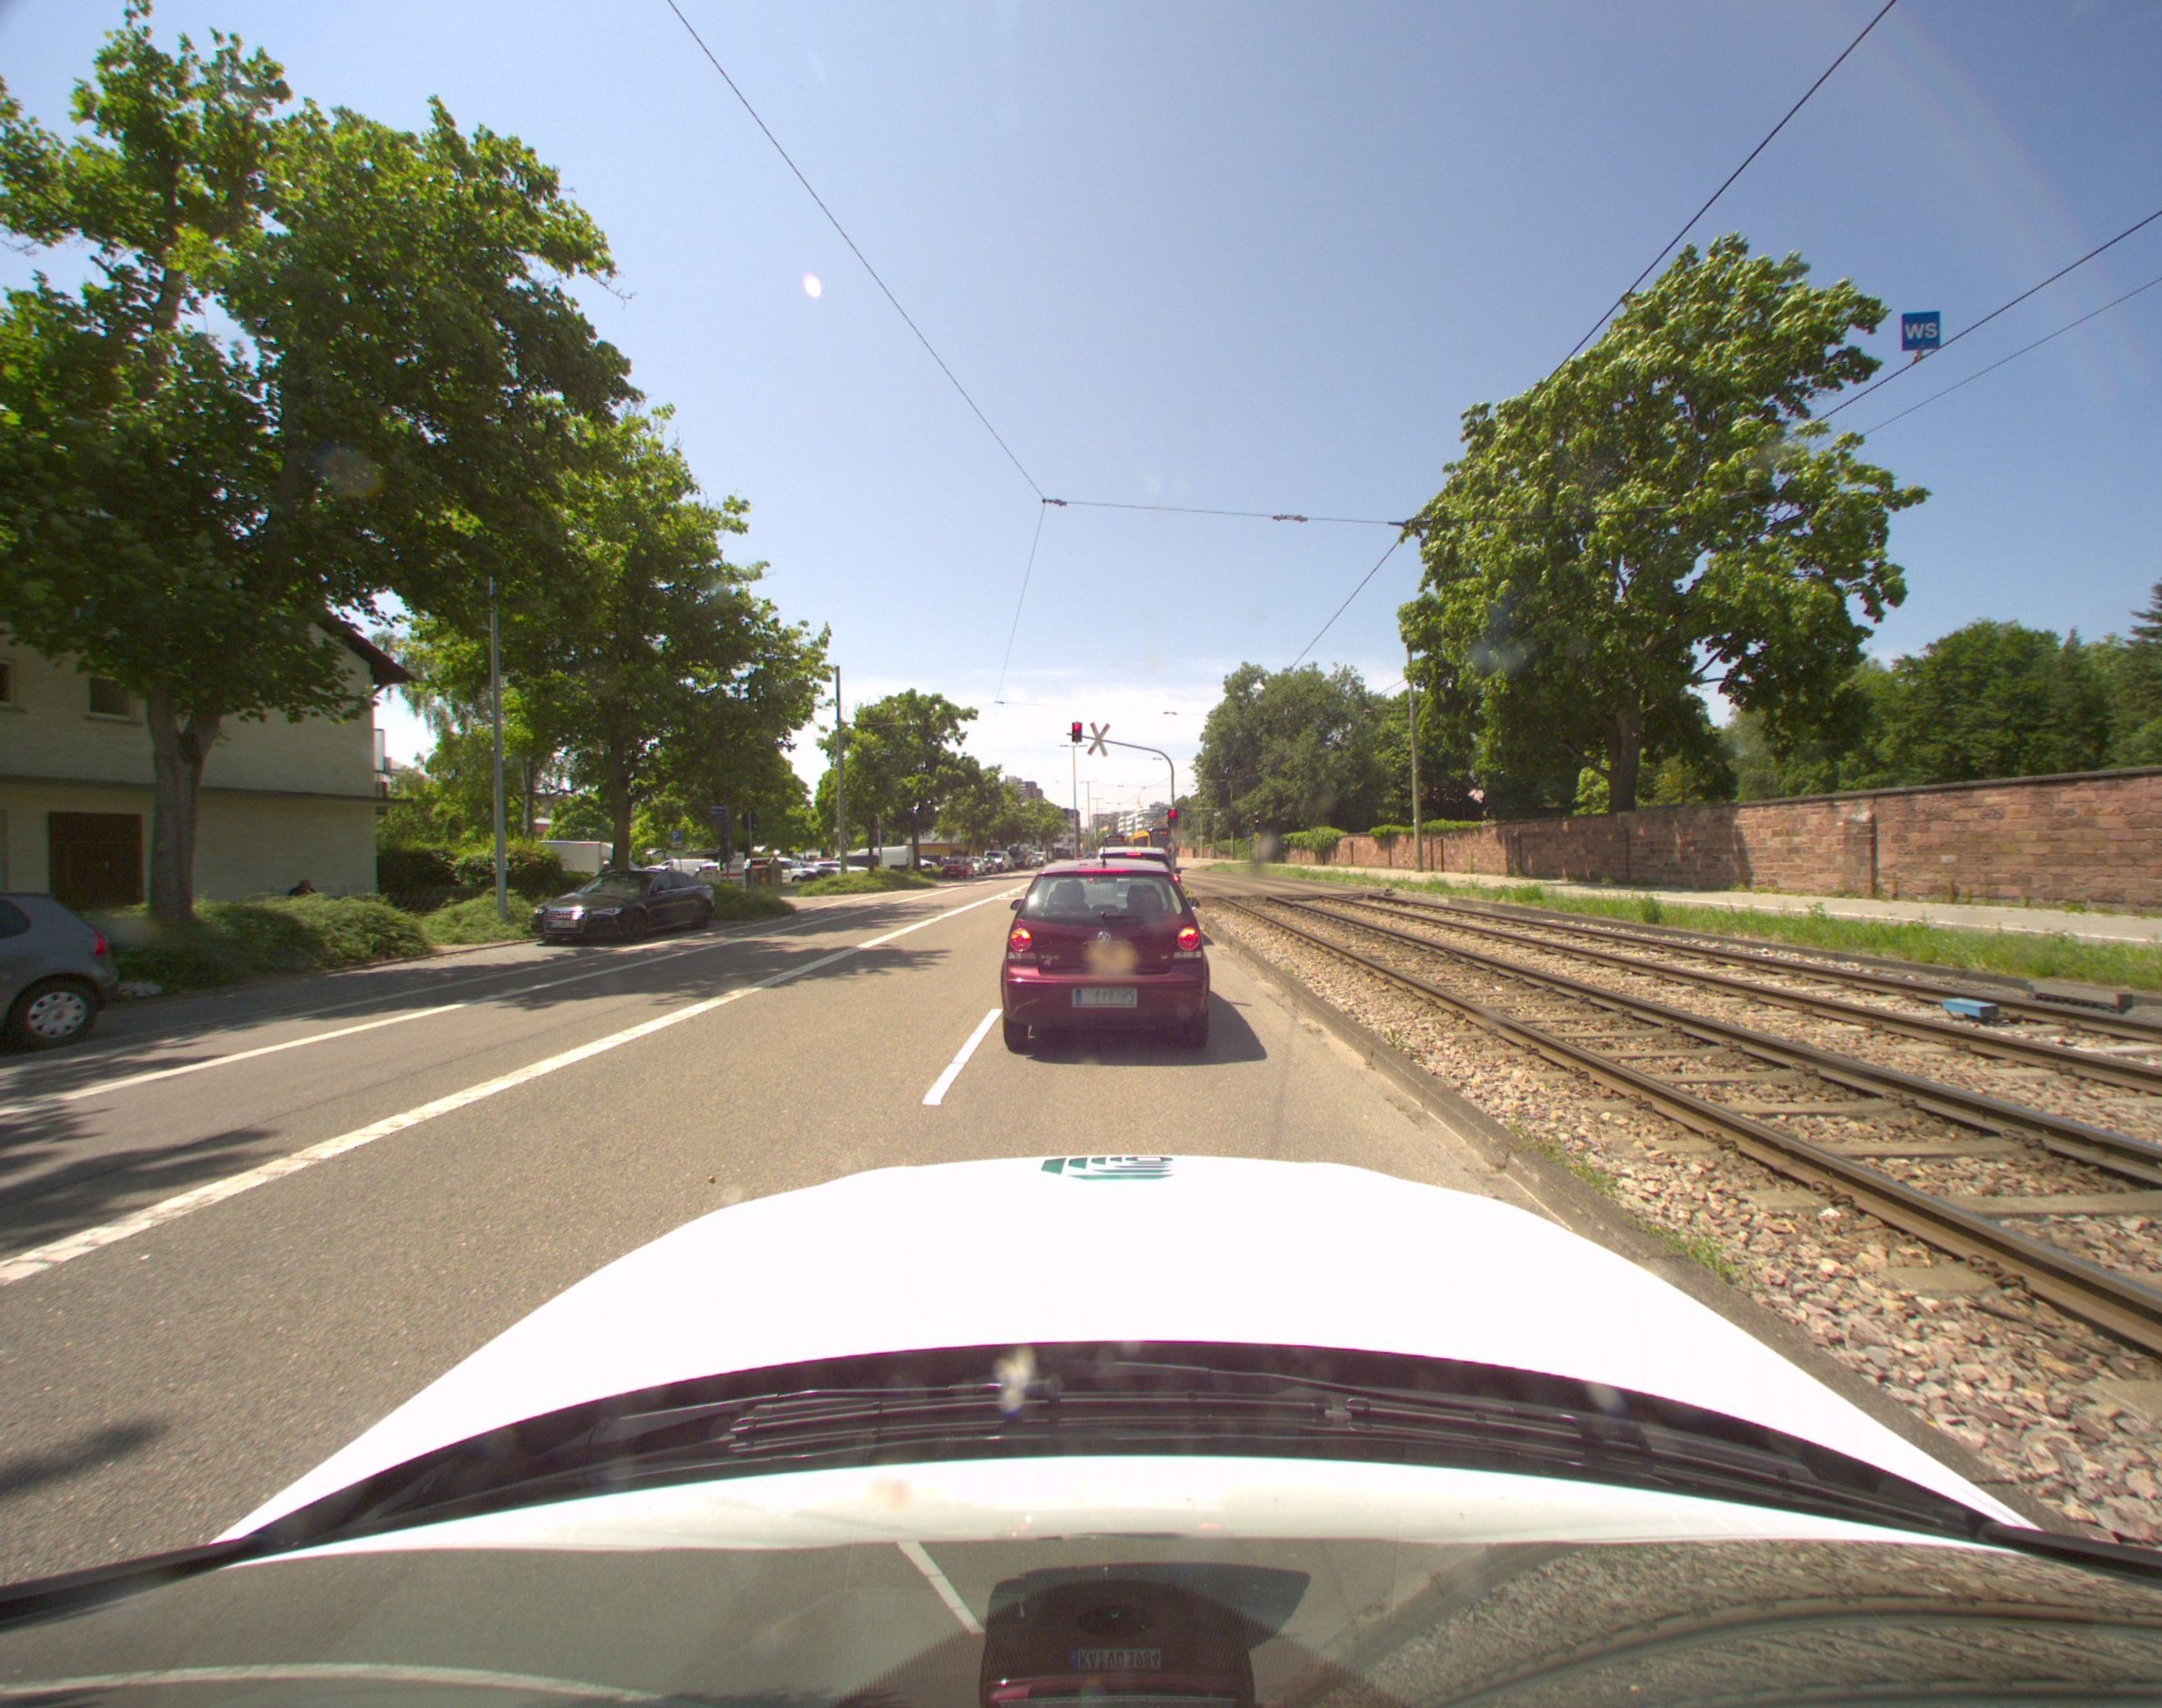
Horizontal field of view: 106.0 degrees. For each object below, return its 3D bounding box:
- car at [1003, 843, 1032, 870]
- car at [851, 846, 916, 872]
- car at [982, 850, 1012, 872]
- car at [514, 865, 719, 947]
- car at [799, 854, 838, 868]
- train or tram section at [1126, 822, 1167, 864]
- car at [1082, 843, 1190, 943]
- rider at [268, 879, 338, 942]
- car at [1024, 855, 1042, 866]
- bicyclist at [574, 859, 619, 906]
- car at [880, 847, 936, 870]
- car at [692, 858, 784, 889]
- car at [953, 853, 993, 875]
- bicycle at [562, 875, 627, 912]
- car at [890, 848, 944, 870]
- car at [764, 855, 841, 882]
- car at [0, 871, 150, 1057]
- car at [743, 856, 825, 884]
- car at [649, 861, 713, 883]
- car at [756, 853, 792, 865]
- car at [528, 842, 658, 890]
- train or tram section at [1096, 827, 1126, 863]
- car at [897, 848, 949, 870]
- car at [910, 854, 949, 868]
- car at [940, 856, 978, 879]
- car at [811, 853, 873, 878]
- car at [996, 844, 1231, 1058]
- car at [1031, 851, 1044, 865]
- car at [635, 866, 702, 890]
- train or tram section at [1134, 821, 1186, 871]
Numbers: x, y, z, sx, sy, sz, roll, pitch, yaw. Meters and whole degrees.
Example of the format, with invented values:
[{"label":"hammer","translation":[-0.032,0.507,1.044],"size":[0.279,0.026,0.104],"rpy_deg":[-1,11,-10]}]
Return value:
[{"label":"car","translation":[-6.613,0.268,85.278],"size":[2.352,2.692,5.311],"rpy_deg":[1,-1,3]},{"label":"car","translation":[-17.503,0.449,72.219],"size":[5.076,2.244,2.380],"rpy_deg":[1,-1,3]},{"label":"car","translation":[-7.374,0.621,72.241],"size":[1.774,1.881,4.792],"rpy_deg":[1,-1,5]},{"label":"car","translation":[-9.821,1.014,17.719],"size":[1.812,1.476,4.450],"rpy_deg":[0,0,1]},{"label":"car","translation":[-31.485,0.784,97.648],"size":[4.006,1.617,1.816],"rpy_deg":[1,-1,0]},{"label":"train or tram section","translation":[6.515,-1.048,83.045],"size":[3.019,3.797,13.086],"rpy_deg":[-2,0,0]},{"label":"car","translation":[0.947,0.634,15.445],"size":[1.770,1.647,4.001],"rpy_deg":[0,0,1]},{"label":"rider","translation":[-17.928,1.295,18.785],"size":[0.820,1.374,0.814],"rpy_deg":[-2,0,10]},{"label":"car","translation":[-5.958,0.827,102.288],"size":[1.606,1.441,4.006],"rpy_deg":[1,-1,6]},{"label":"bicyclist","translation":[-14.597,0.846,24.539],"size":[0.805,1.374,0.829],"rpy_deg":[1,-1,5]},{"label":"car","translation":[-17.706,0.497,83.586],"size":[5.076,2.244,2.380],"rpy_deg":[1,-1,3]},{"label":"car","translation":[-19.293,1.070,45.983],"size":[4.329,1.585,1.912],"rpy_deg":[-2,0,-1]},{"label":"car","translation":[-8.153,0.752,62.013],"size":[1.965,1.601,4.566],"rpy_deg":[1,-1,6]},{"label":"bicycle","translation":[-14.588,1.163,24.490],"size":[0.697,1.029,1.831],"rpy_deg":[1,-1,5]},{"label":"car","translation":[-17.288,0.526,86.048],"size":[5.076,2.244,2.380],"rpy_deg":[1,-1,3]},{"label":"car","translation":[-18.349,0.954,53.776],"size":[4.319,1.585,1.917],"rpy_deg":[-2,0,8]},{"label":"car","translation":[-10.250,0.970,6.036],"size":[1.812,1.564,4.182],"rpy_deg":[0,0,1]},{"label":"car","translation":[-18.563,0.970,50.983],"size":[4.319,1.585,1.917],"rpy_deg":[-2,0,7]},{"label":"car","translation":[-30.616,1.357,62.480],"size":[3.982,1.653,1.812],"rpy_deg":[1,-1,-7]},{"label":"car","translation":[-40.807,0.688,108.213],"size":[4.004,1.617,1.818],"rpy_deg":[1,-1,3]},{"label":"car","translation":[-31.380,0.767,52.530],"size":[6.828,2.965,2.364],"rpy_deg":[1,-1,0]},{"label":"train or tram section","translation":[3.212,-0.971,90.288],"size":[2.732,3.609,12.866],"rpy_deg":[1,0,0]},{"label":"car","translation":[-17.202,0.551,88.643],"size":[5.076,2.244,2.380],"rpy_deg":[1,-1,3]},{"label":"car","translation":[-17.316,0.797,93.055],"size":[4.004,1.617,1.818],"rpy_deg":[1,-1,3]},{"label":"car","translation":[-8.265,0.894,55.460],"size":[1.655,1.497,4.004],"rpy_deg":[1,-1,4]},{"label":"car","translation":[-18.111,0.859,61.809],"size":[3.973,1.746,1.998],"rpy_deg":[-2,0,0]},{"label":"car","translation":[0.273,0.679,7.805],"size":[1.666,1.521,4.001],"rpy_deg":[0,0,1]},{"label":"car","translation":[-5.783,0.576,108.555],"size":[1.771,1.828,3.995],"rpy_deg":[1,-1,-3]},{"label":"car","translation":[-30.353,1.749,60.056],"size":[3.982,1.653,1.812],"rpy_deg":[1,-1,-7]},{"label":"train or tram section","translation":[6.587,-0.655,70.007],"size":[3.019,3.797,13.086],"rpy_deg":[-2,0,0]}]
